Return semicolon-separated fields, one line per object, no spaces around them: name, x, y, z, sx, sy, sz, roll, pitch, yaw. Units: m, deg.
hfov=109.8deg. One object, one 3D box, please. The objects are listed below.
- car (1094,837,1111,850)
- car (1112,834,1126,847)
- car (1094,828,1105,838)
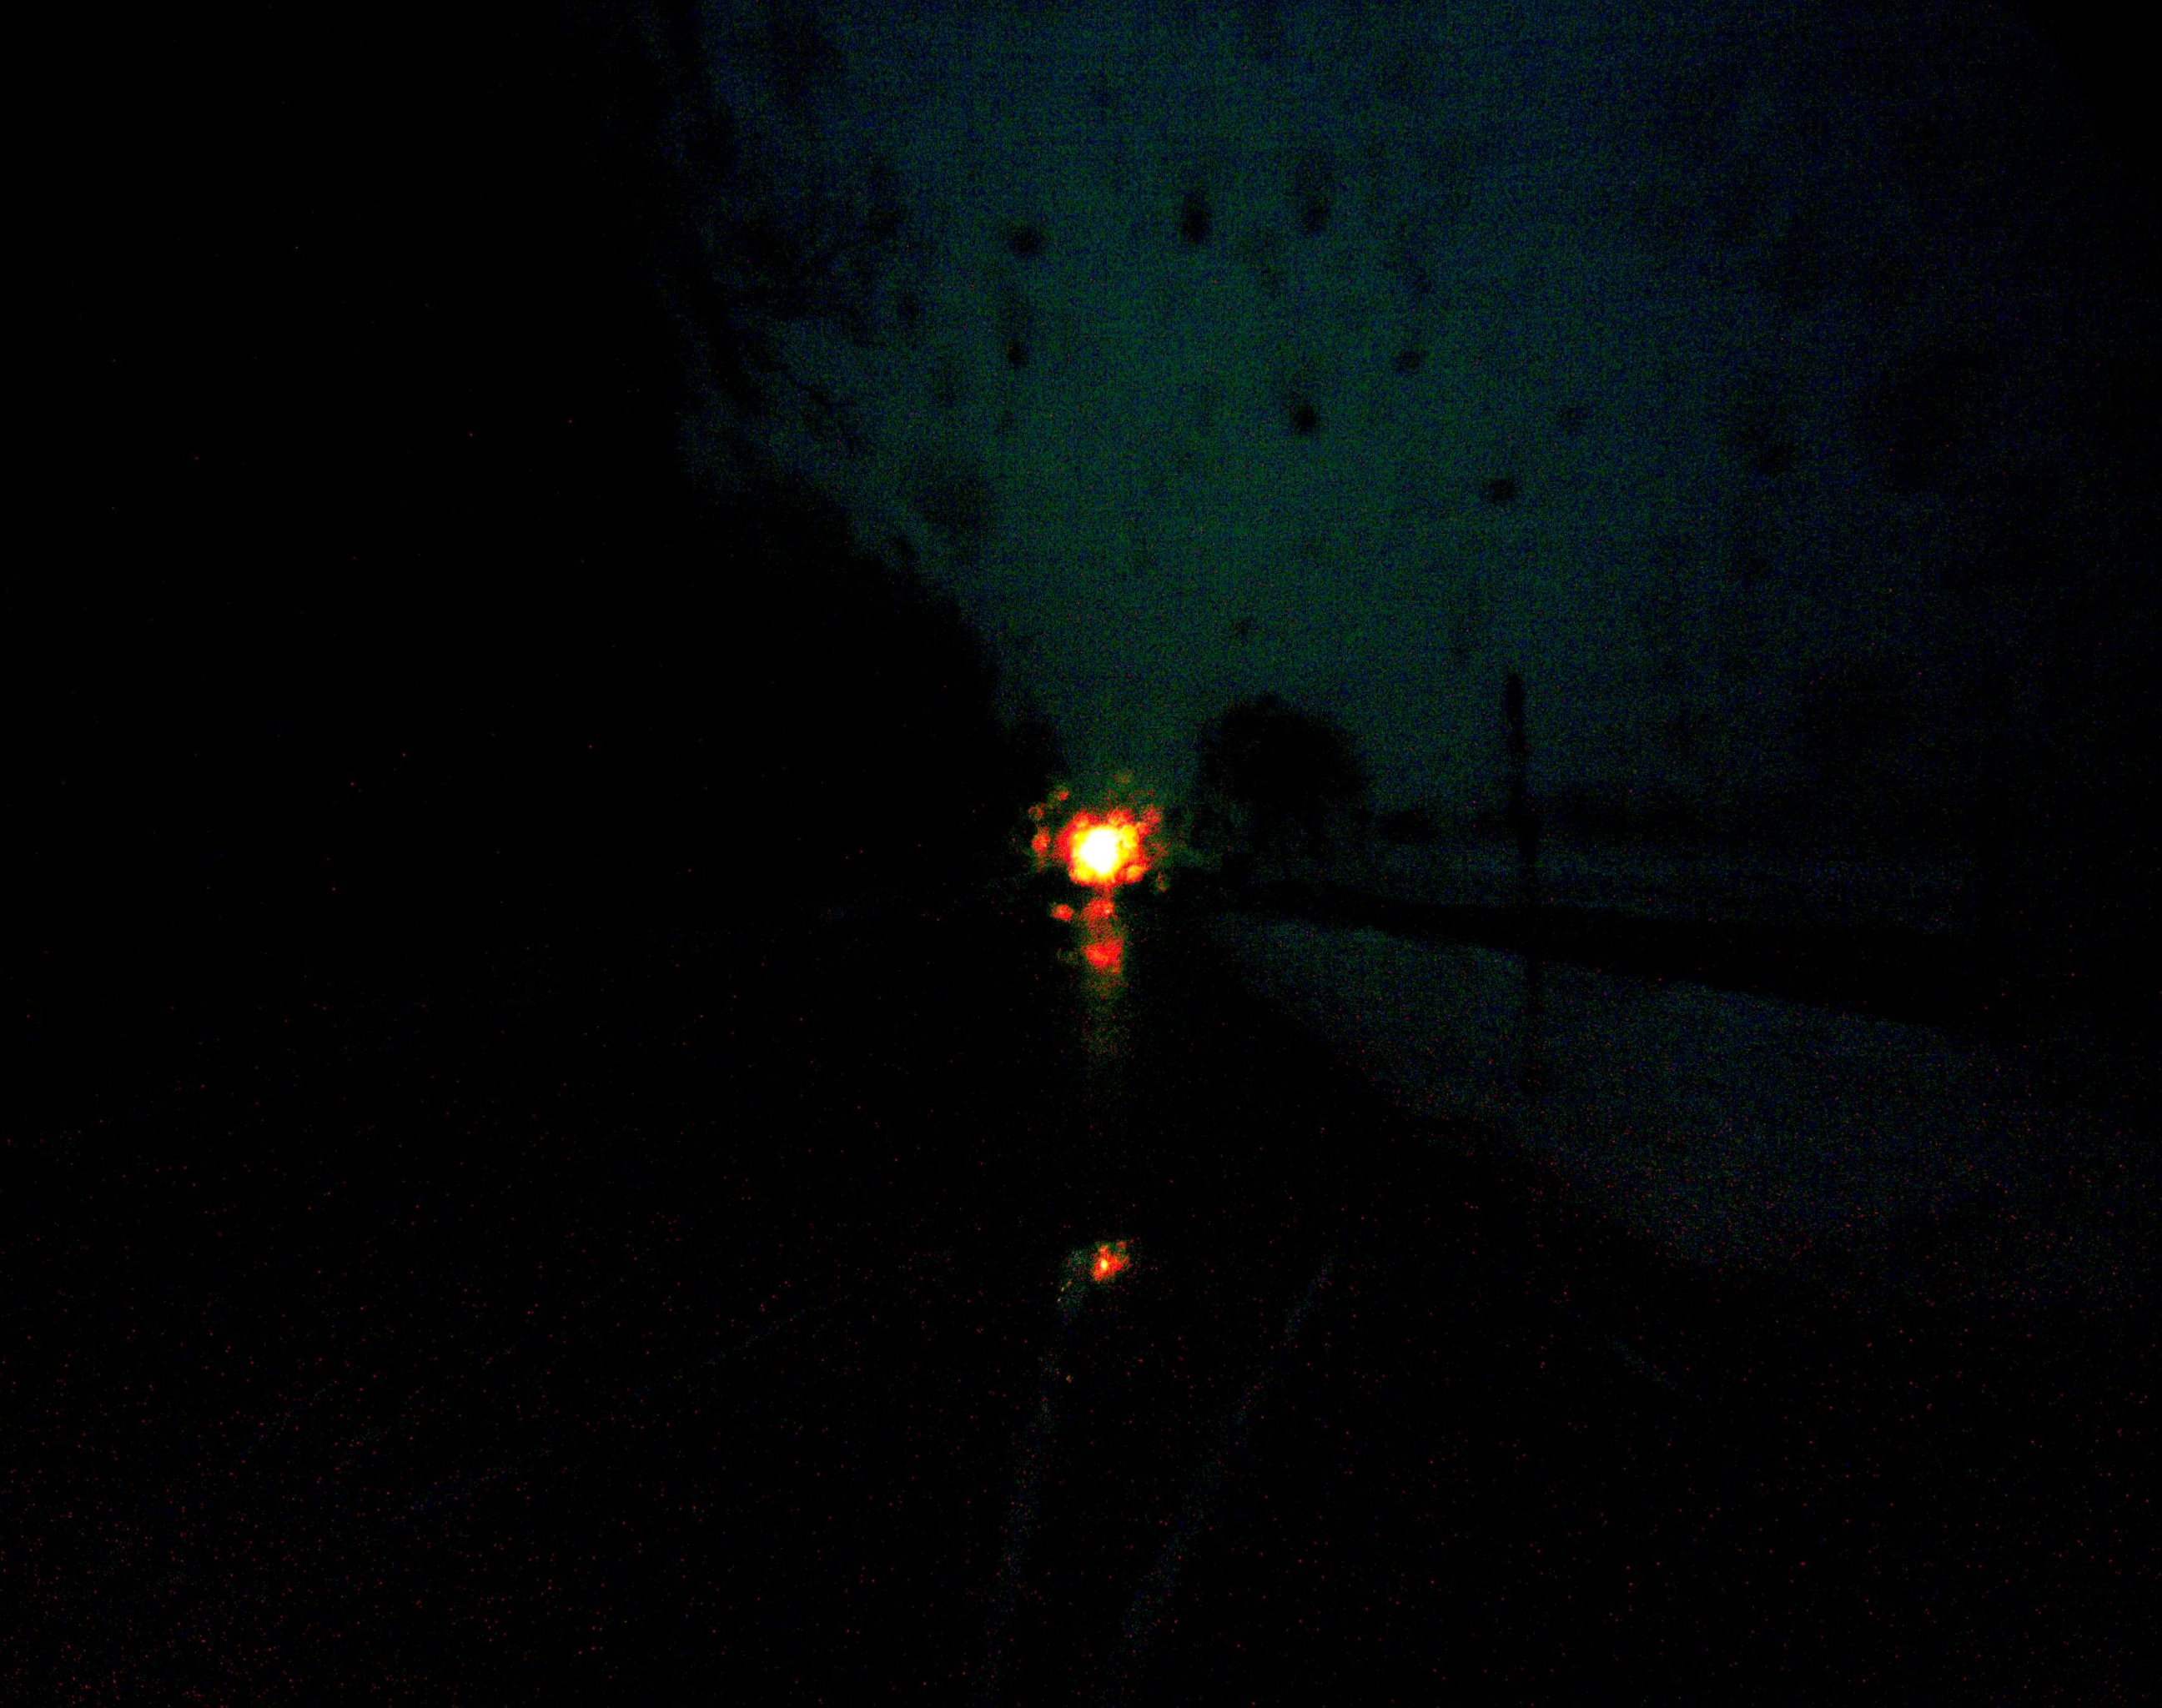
car;2.502;-1.218;89.107;1.725;1.426;3.675;-2;1;-2
car;5.687;-2.047;113.790;1.998;1.797;3.999;-2;1;1
car;3.409;-3.875;140.376;1.998;1.797;3.999;-2;1;1
